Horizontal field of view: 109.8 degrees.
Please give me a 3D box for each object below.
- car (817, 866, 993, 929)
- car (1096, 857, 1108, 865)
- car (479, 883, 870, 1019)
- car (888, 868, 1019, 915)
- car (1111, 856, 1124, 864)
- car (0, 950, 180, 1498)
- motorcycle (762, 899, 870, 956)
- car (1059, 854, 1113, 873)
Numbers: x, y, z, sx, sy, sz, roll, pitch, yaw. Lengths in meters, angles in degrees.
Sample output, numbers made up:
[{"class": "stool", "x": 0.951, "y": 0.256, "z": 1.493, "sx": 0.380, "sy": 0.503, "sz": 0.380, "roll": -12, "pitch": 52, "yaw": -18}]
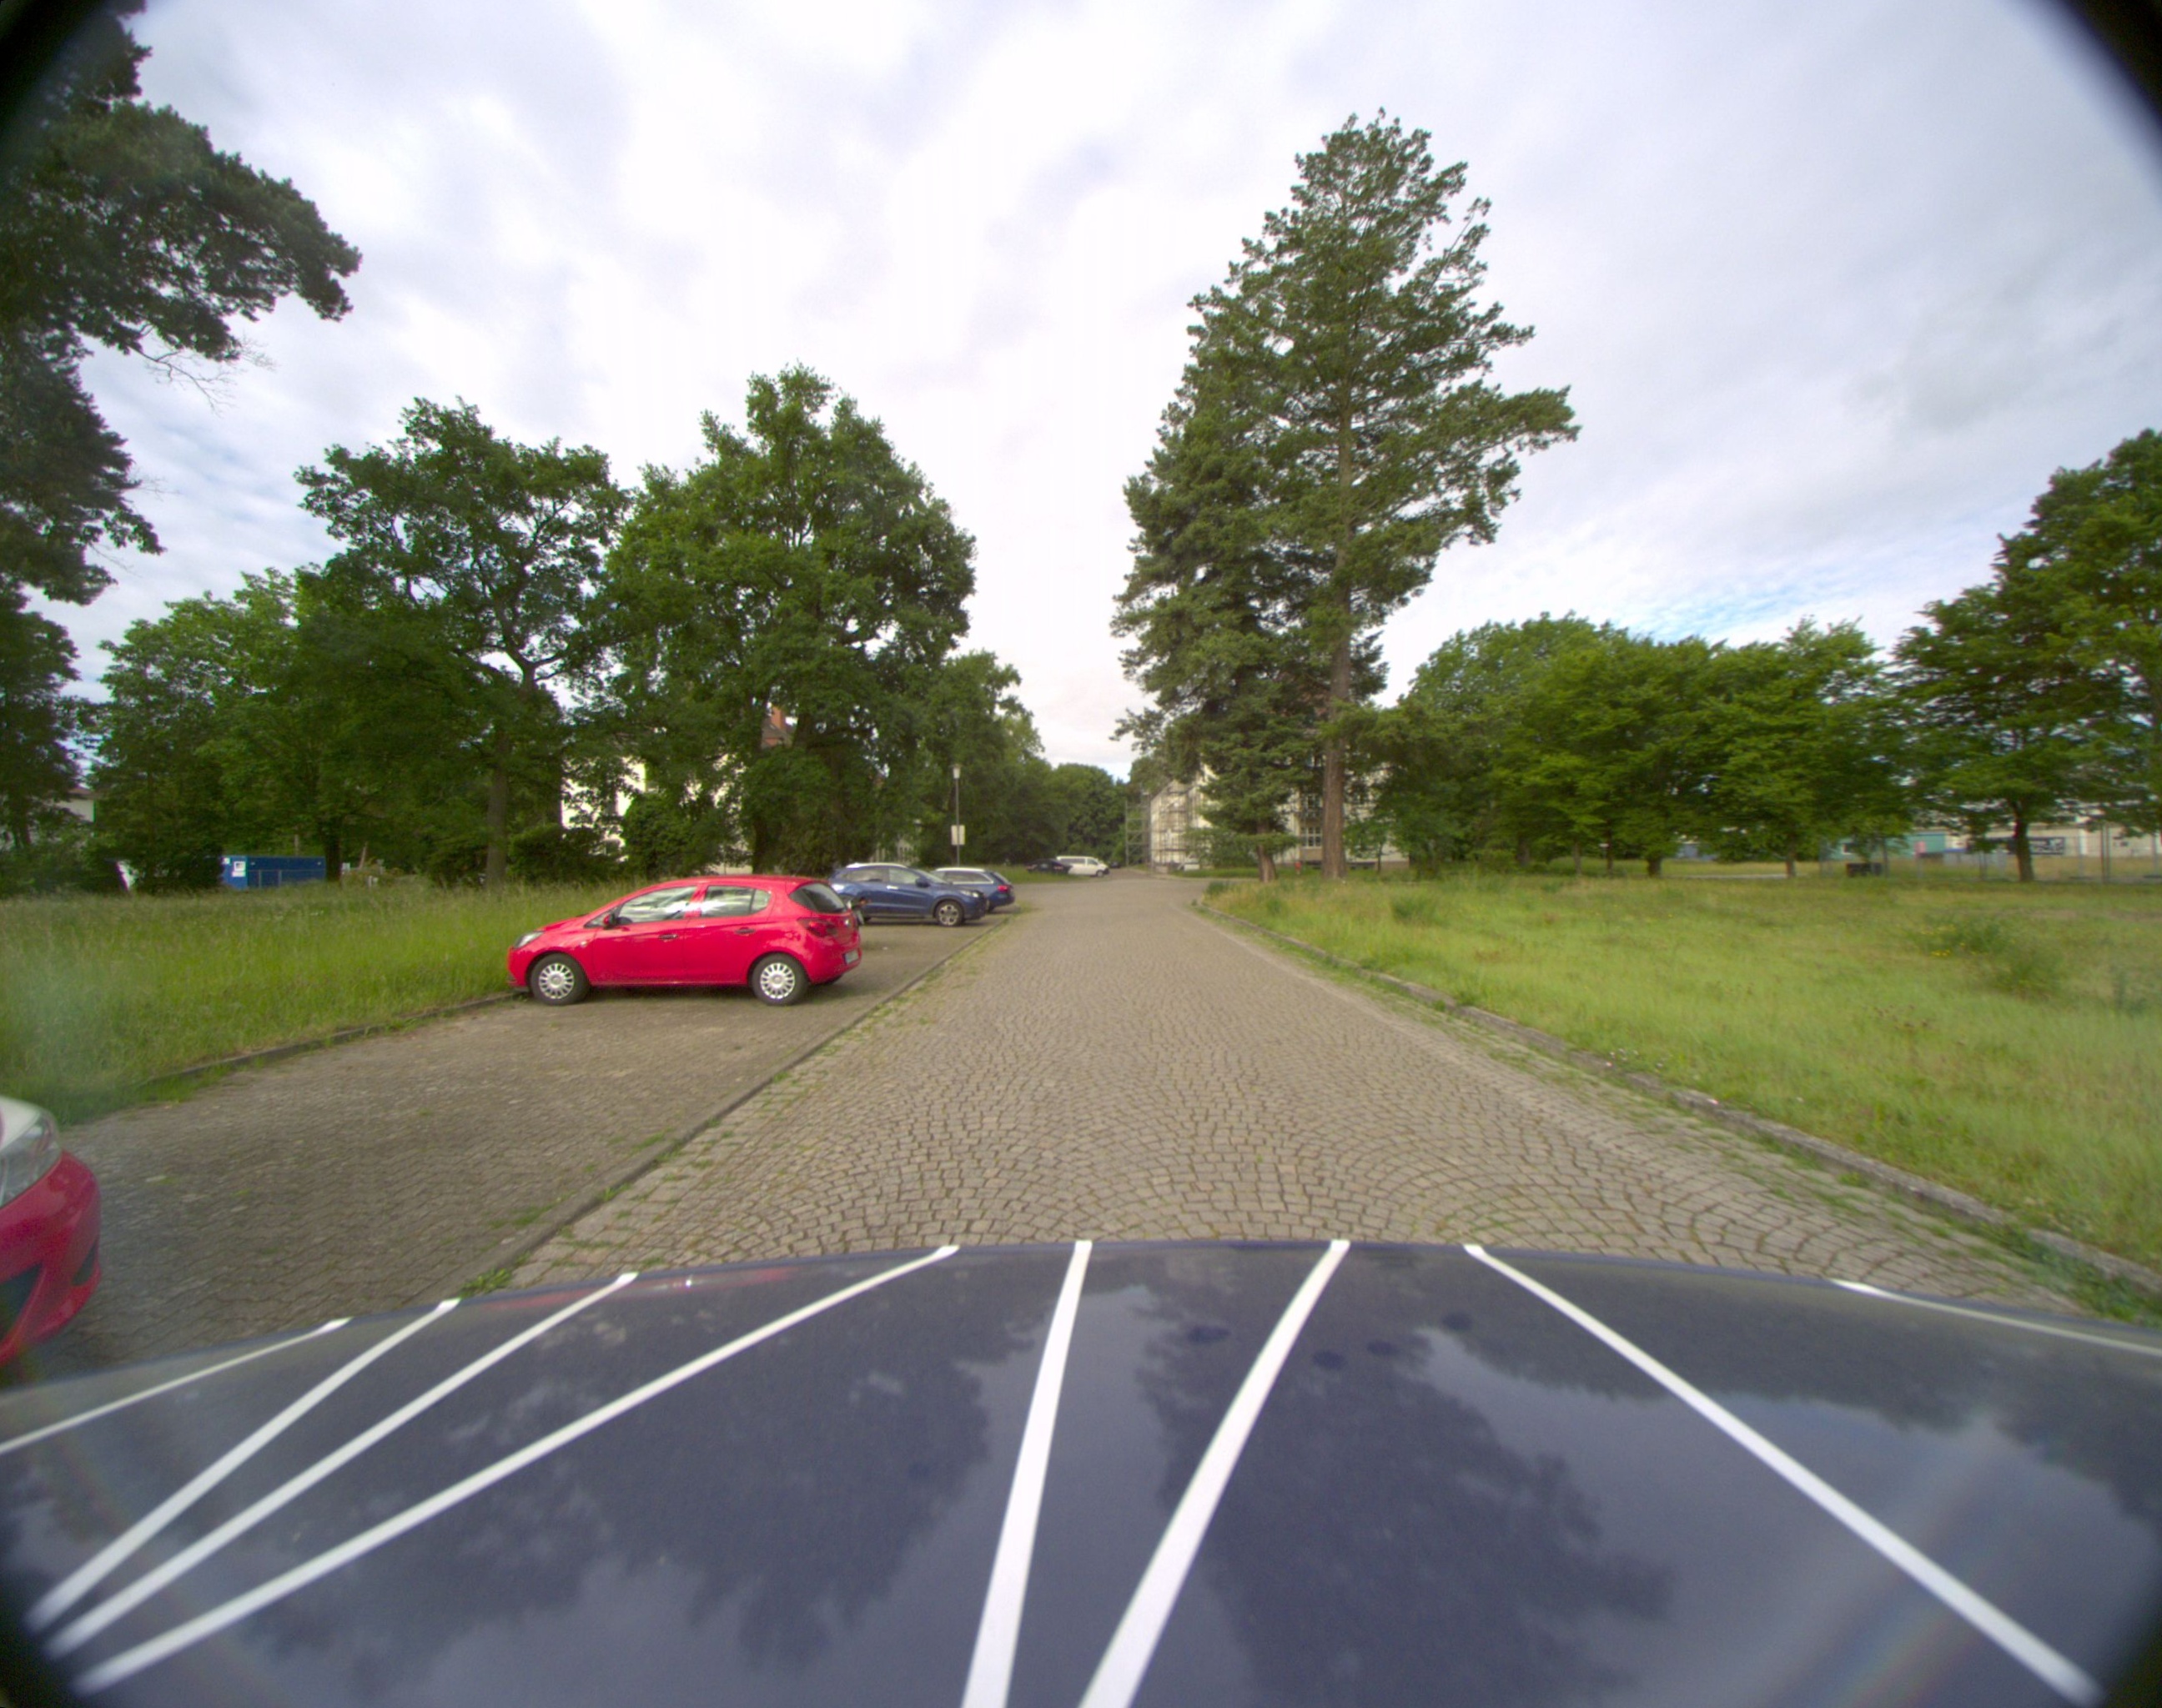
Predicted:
[{"class": "car", "x": -4.413, "y": 1.078, "z": 19.476, "sx": 4.150, "sy": 1.529, "sz": 1.582, "roll": 0, "pitch": 0, "yaw": 0}, {"class": "car", "x": 3.838, "y": 1.189, "z": 139.258, "sx": 1.870, "sy": 1.408, "sz": 4.695, "roll": 1, "pitch": 0, "yaw": -3}, {"class": "car", "x": -4.734, "y": 1.106, "z": 9.236, "sx": 3.894, "sy": 1.451, "sz": 1.582, "roll": 0, "pitch": 0, "yaw": 0}, {"class": "car", "x": -3.986, "y": 1.161, "z": 24.131, "sx": 3.877, "sy": 1.417, "sz": 1.582, "roll": 0, "pitch": 0, "yaw": 0}, {"class": "car", "x": 6.732, "y": 1.091, "z": 139.760, "sx": 1.870, "sy": 1.408, "sz": 4.695, "roll": 1, "pitch": 0, "yaw": -3}, {"class": "car", "x": -5.033, "y": 1.051, "z": 1.689, "sx": 4.016, "sy": 1.477, "sz": 1.766, "roll": 0, "pitch": 0, "yaw": 1}, {"class": "motorcycle", "x": -4.739, "y": 1.313, "z": 13.669, "sx": 1.745, "sy": 0.951, "sz": 0.614, "roll": 0, "pitch": 0, "yaw": -5}, {"class": "car", "x": 0.494, "y": 0.910, "z": 72.878, "sx": 5.141, "sy": 1.860, "sz": 1.723, "roll": 0, "pitch": 0, "yaw": 0}]
